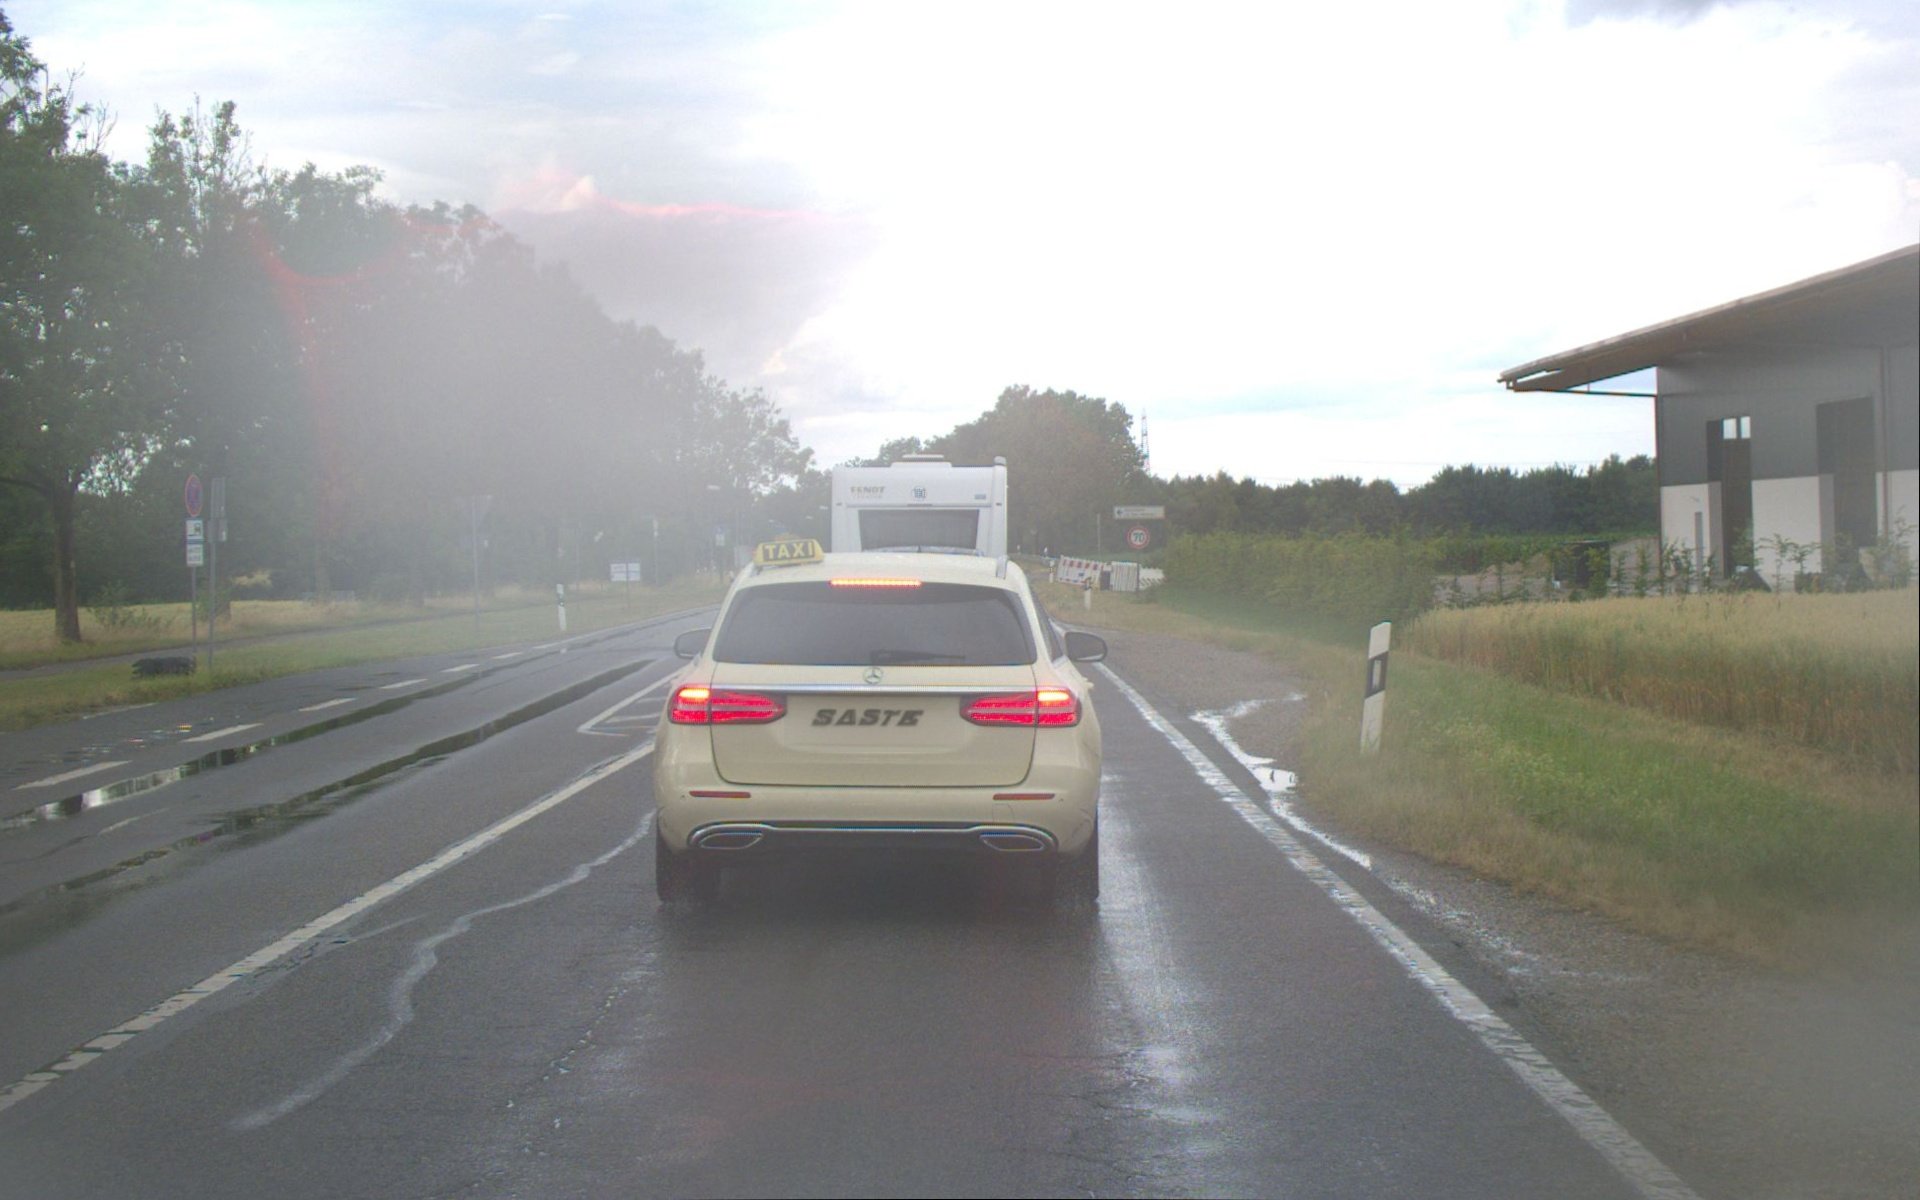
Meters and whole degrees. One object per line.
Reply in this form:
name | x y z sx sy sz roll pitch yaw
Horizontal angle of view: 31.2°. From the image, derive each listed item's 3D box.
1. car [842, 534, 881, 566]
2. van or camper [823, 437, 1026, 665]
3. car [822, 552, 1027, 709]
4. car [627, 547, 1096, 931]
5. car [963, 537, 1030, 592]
car | -5.292 -2.722 185.237 1.916 1.626 4.357 -3 1 0
van or camper | -0.413 -0.667 46.824 2.497 2.821 5.934 -2 1 1
car | -0.354 0.254 33.837 1.894 1.424 3.928 0 1 -1
car | -0.367 0.502 15.195 1.797 1.459 4.031 0 1 0
car | 1.079 -1.052 100.665 1.894 1.585 3.928 0 1 1
